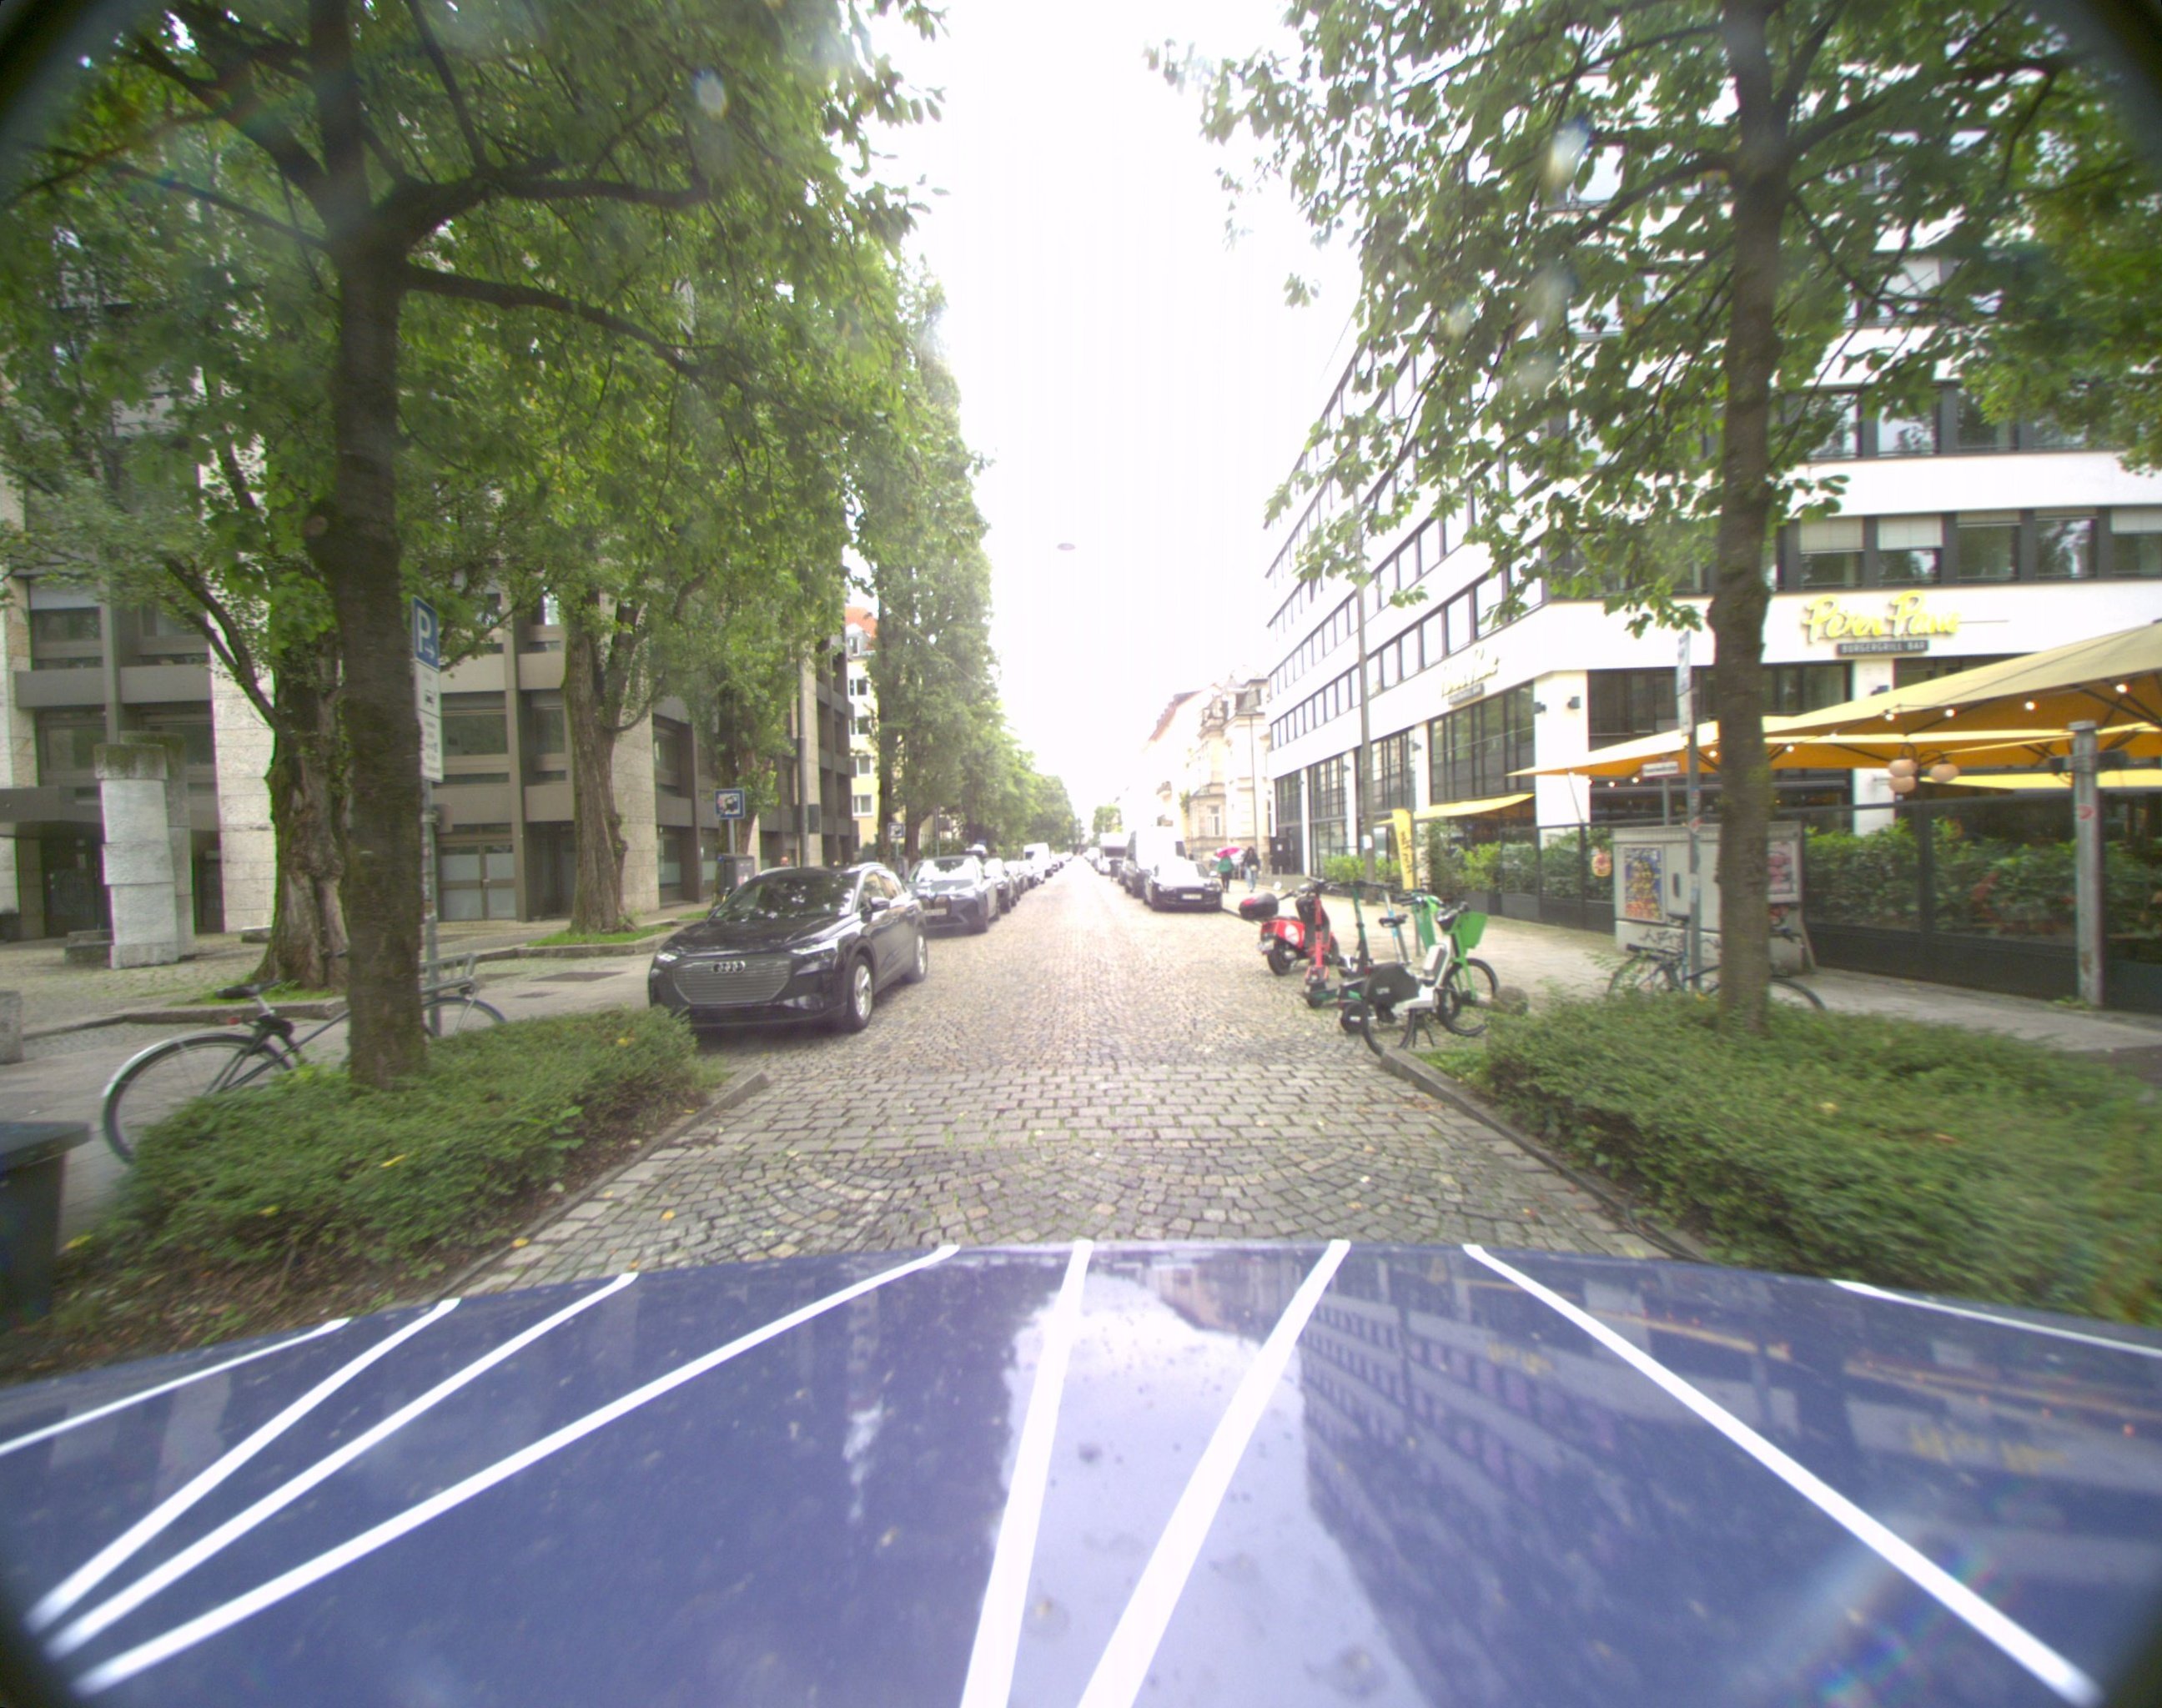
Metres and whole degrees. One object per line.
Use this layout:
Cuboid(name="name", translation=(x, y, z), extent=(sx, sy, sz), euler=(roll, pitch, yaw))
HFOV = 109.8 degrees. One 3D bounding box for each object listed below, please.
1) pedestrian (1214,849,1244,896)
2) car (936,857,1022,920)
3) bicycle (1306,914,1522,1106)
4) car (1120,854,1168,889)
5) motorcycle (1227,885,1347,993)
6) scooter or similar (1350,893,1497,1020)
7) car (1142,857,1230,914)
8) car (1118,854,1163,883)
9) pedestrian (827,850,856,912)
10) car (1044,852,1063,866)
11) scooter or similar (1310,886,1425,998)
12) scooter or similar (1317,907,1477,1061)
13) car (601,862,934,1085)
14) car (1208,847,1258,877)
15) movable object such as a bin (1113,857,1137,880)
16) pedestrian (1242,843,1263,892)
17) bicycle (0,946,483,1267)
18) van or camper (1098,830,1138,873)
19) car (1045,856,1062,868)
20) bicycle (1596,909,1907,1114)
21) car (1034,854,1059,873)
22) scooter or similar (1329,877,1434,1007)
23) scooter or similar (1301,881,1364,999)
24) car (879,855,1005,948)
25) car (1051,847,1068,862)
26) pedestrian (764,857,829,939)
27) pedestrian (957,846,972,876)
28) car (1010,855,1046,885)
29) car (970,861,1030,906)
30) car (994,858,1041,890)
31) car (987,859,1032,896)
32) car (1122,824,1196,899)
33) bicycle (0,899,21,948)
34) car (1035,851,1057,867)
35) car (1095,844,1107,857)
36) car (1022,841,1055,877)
Cuboid(name="pedestrian", translation=(5.445, 0.679, 28.056), extent=(0.928, 1.696, 0.800), euler=(-2, 1, 3))
Cuboid(name="car", translation=(-2.966, 0.951, 23.024), extent=(1.999, 1.573, 4.341), euler=(-3, 1, -1))
Cuboid(name="bicycle", translation=(2.580, 1.108, 5.821), extent=(1.765, 1.136, 0.552), euler=(-3, 1, -30))
Cuboid(name="car", translation=(2.820, 0.739, 34.668), extent=(1.998, 1.422, 4.000), euler=(-2, 1, 3))
Cuboid(name="motorcycle", translation=(2.764, 1.052, 10.051), extent=(0.769, 1.189, 1.995), euler=(0, 0, 40))
Cuboid(name="scooter or similar", translation=(3.311, 0.984, 7.383), extent=(1.250, 1.137, 0.327), euler=(-2, 1, 1))
Cuboid(name="car", translation=(2.867, 0.816, 21.632), extent=(1.998, 1.322, 4.116), euler=(-2, 1, 1))
Cuboid(name="car", translation=(3.057, 0.714, 39.708), extent=(1.999, 1.380, 3.999), euler=(-2, 1, 0))
Cuboid(name="pedestrian", translation=(-6.360, 0.705, 20.169), extent=(0.489, 1.619, 0.568), euler=(-2, 1, 4))
Cuboid(name="car", translation=(-3.025, 0.545, 84.165), extent=(1.999, 1.380, 3.872), euler=(-2, 1, -2))
Cuboid(name="scooter or similar", translation=(3.306, 0.981, 8.856), extent=(0.390, 1.173, 1.248), euler=(-3, 1, -31))
Cuboid(name="scooter or similar", translation=(2.774, 1.092, 6.643), extent=(1.432, 1.137, 0.369), euler=(-3, 1, -23))
Cuboid(name="car", translation=(-3.021, 1.018, 8.456), extent=(1.925, 1.690, 4.200), euler=(-3, 1, -1))
Cuboid(name="car", translation=(8.334, 0.403, 41.944), extent=(1.912, 1.524, 4.169), euler=(-2, 1, 1))
Cuboid(name="movable object such as a bin", translation=(2.568, 0.851, 44.765), extent=(1.255, 1.290, 1.174), euler=(-2, 1, -4))
Cuboid(name="pedestrian", translation=(6.215, 0.473, 27.589), extent=(0.575, 1.738, 0.650), euler=(-2, 1, 0))
Cuboid(name="bicycle", translation=(-4.430, 1.202, 4.210), extent=(0.475, 1.130, 1.877), euler=(-2, 1, 9))
Cuboid(name="van or camper", translation=(2.766, -0.192, 58.817), extent=(2.464, 3.030, 7.316), euler=(-2, 1, -1))
Cuboid(name="car", translation=(-3.302, 0.941, 90.746), extent=(1.999, 1.380, 3.872), euler=(-2, 1, -2))
Cuboid(name="bicycle", translation=(4.455, 0.972, 5.251), extent=(0.553, 1.016, 1.762), euler=(-2, 1, -1))
Cuboid(name="car", translation=(-2.862, 0.790, 63.376), extent=(1.999, 1.380, 3.872), euler=(-4, 1, -2))
Cuboid(name="scooter or similar", translation=(3.263, 0.910, 8.218), extent=(1.253, 1.265, 0.327), euler=(-2, 1, -30))
Cuboid(name="scooter or similar", translation=(3.046, 0.986, 9.153), extent=(0.326, 1.265, 1.360), euler=(-1, 1, 35))
Cuboid(name="car", translation=(-2.972, 0.946, 17.377), extent=(2.018, 1.690, 4.672), euler=(-3, 1, -1))
Cuboid(name="car", translation=(-2.755, 0.049, 95.406), extent=(1.999, 1.680, 3.872), euler=(-4, 1, -2))
Cuboid(name="pedestrian", translation=(-6.187, 0.936, 16.581), extent=(0.867, 1.704, 0.913), euler=(-2, 1, 20))
Cuboid(name="pedestrian", translation=(-6.099, 0.342, 39.869), extent=(0.645, 1.528, 0.709), euler=(-2, 1, -3))
Cuboid(name="car", translation=(-3.041, 0.896, 44.335), extent=(1.868, 1.490, 3.872), euler=(-4, 1, -2))
Cuboid(name="car", translation=(-3.079, 1.089, 29.628), extent=(1.723, 1.382, 4.204), euler=(-5, 1, 0))
Cuboid(name="car", translation=(-3.195, 0.962, 39.028), extent=(1.999, 1.380, 3.873), euler=(-4, 1, 0))
Cuboid(name="car", translation=(-3.154, 1.018, 34.020), extent=(1.605, 1.422, 3.562), euler=(-4, 1, 0))
Cuboid(name="car", translation=(2.805, 0.240, 28.764), extent=(2.065, 2.476, 5.848), euler=(-2, 1, -1))
Cuboid(name="bicycle", translation=(-25.871, 1.669, 17.152), extent=(0.647, 1.149, 2.245), euler=(-2, 1, 1))
Cuboid(name="car", translation=(-3.458, 0.497, 75.592), extent=(1.999, 1.380, 3.872), euler=(-4, 1, -2))
Cuboid(name="car", translation=(3.769, -0.622, 144.181), extent=(2.088, 2.418, 5.609), euler=(-2, 1, -1))
Cuboid(name="car", translation=(-3.124, 0.343, 56.909), extent=(2.088, 2.418, 5.609), euler=(-4, 1, -1))
